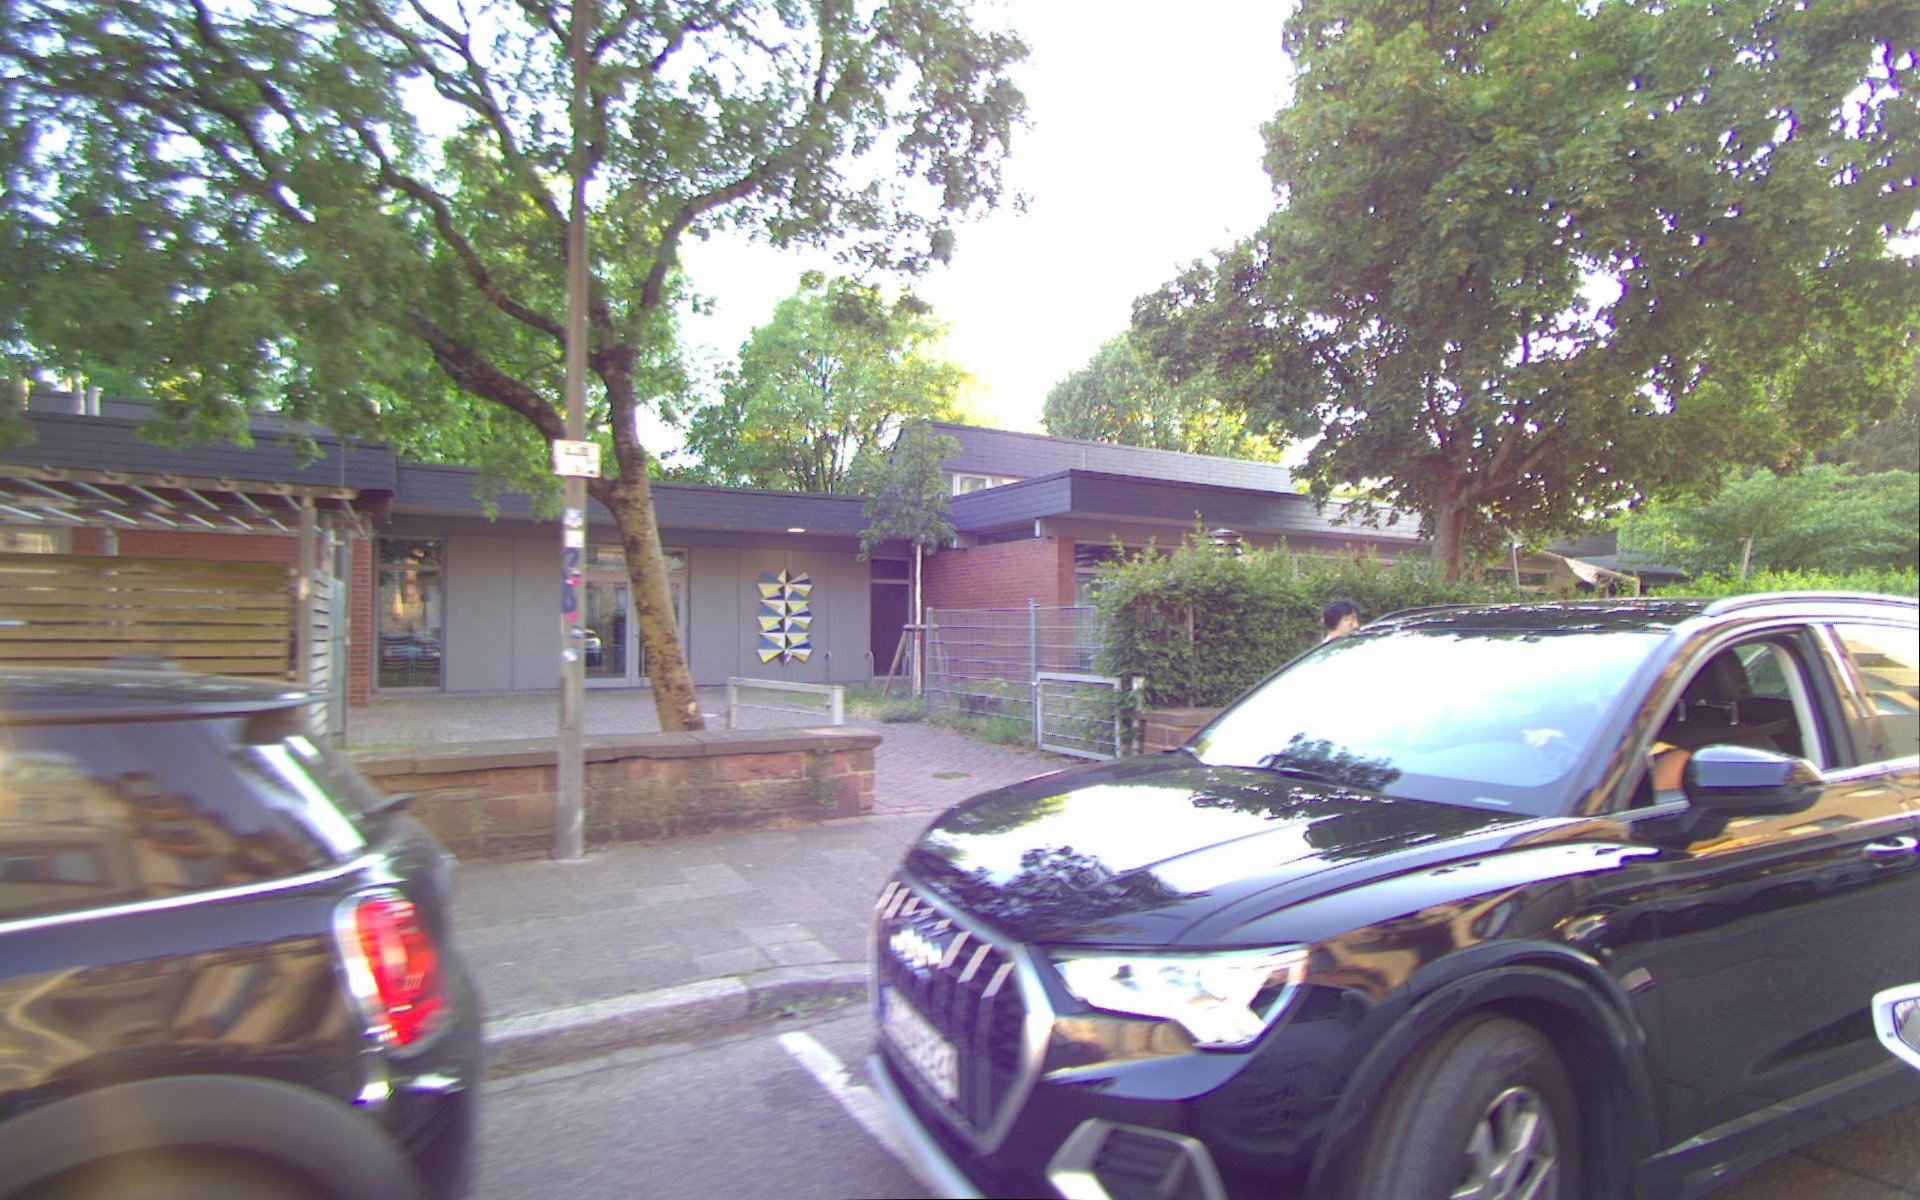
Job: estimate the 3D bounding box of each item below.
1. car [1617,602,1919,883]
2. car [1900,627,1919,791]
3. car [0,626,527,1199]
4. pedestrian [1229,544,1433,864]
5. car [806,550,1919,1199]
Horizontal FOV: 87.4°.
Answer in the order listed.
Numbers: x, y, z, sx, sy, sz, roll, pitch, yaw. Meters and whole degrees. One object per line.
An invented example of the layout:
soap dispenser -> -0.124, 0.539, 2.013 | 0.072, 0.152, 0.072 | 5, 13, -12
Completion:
car -> 7.034, 0.925, 7.580 | 3.950, 1.652, 1.777 | 1, -4, -28
car -> 11.334, 1.043, 10.071 | 4.056, 1.575, 1.846 | 1, -3, -33
car -> -2.886, 0.806, 1.544 | 3.944, 1.497, 1.630 | 1, -3, -29
pedestrian -> 2.352, 0.611, 6.423 | 0.778, 1.855, 0.933 | 1, -1, -31
car -> 1.931, 0.787, 3.195 | 4.500, 1.590, 1.801 | 1, -2, -23
